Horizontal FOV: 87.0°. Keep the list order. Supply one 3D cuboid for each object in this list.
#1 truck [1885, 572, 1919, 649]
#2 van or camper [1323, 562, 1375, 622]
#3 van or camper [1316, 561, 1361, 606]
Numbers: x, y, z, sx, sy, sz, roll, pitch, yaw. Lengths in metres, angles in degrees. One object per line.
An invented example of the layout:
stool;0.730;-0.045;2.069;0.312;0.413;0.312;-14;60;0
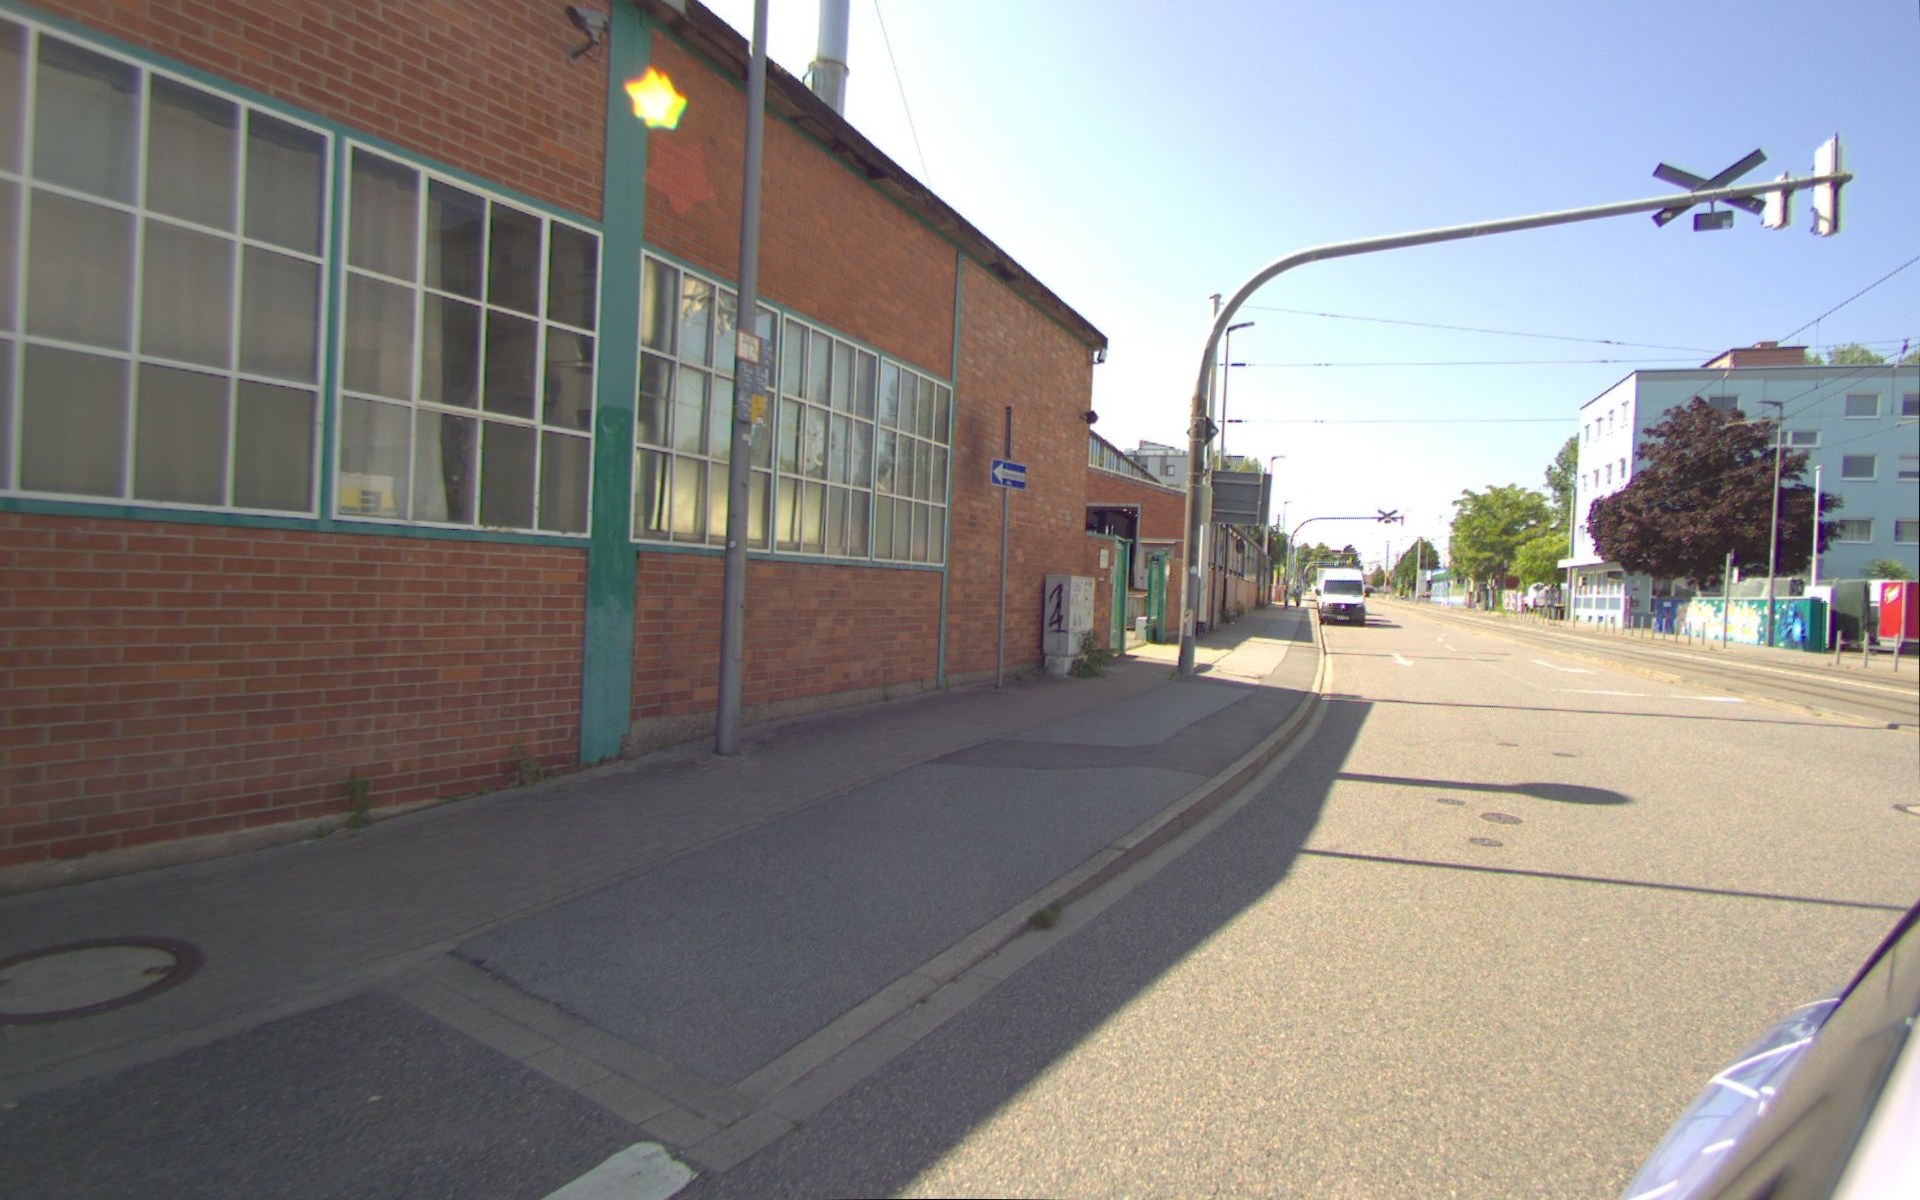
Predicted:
truck;35.420;0.442;34.783;4.786;2.659;2.170;3;1;26
van or camper;18.247;-0.406;47.686;2.018;2.565;5.832;2;1;19
van or camper;25.559;-1.100;68.563;2.492;2.821;7.073;2;1;19
